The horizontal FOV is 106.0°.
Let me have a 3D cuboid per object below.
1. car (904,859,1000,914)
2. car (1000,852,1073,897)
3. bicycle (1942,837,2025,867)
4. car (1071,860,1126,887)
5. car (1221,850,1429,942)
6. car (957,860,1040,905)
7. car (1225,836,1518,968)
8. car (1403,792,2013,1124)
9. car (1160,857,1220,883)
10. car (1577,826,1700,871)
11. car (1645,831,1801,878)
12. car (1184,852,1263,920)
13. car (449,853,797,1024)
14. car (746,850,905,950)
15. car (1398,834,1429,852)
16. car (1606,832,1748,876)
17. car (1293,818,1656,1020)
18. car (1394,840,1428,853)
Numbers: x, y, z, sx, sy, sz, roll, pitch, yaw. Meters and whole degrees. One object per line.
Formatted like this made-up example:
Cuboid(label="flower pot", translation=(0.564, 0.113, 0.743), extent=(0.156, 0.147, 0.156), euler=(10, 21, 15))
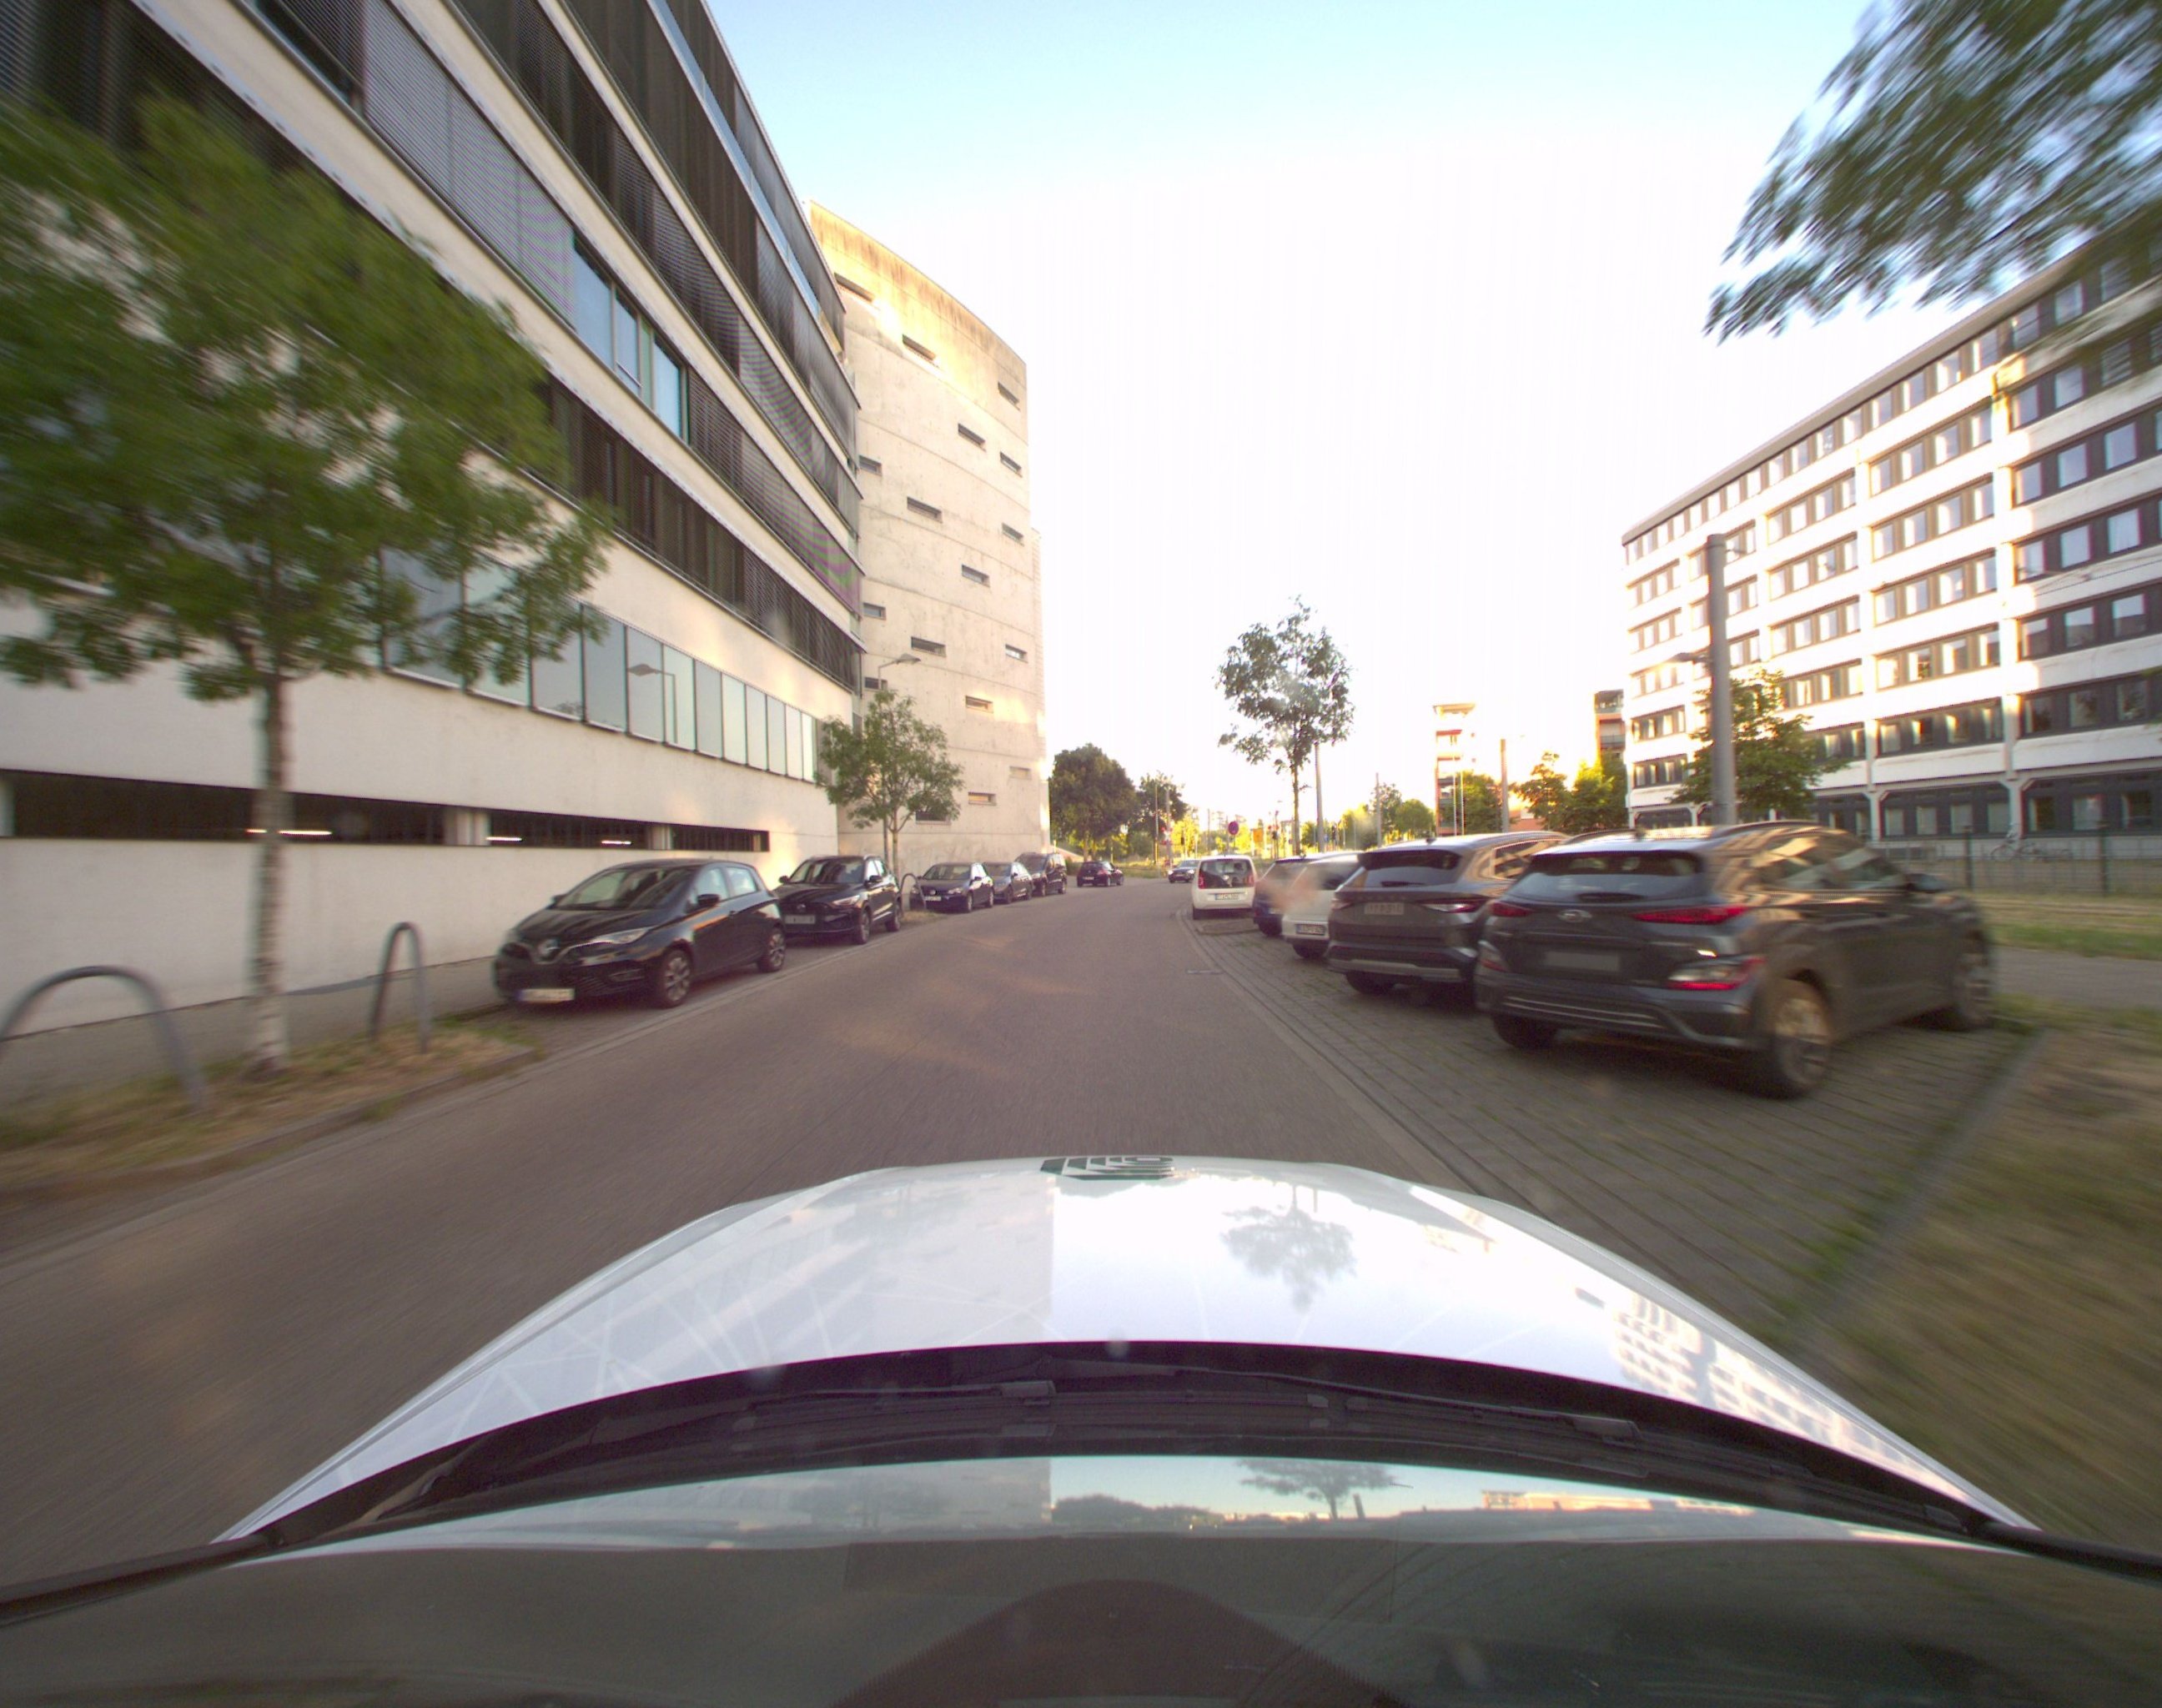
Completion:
Cuboid(label="car", translation=(-3.784, 0.924, 24.723), extent=(1.713, 1.457, 4.280), euler=(0, 0, 7))
Cuboid(label="car", translation=(-1.829, 0.808, 35.020), extent=(1.744, 1.798, 4.482), euler=(0, 0, 16))
Cuboid(label="bicycle", translation=(37.435, -0.081, 33.836), extent=(0.825, 1.200, 2.433), euler=(1, 0, 1))
Cuboid(label="car", translation=(1.034, 1.038, 45.378), extent=(1.929, 1.382, 4.419), euler=(0, 0, 17))
Cuboid(label="car", translation=(4.605, 0.690, 15.261), extent=(3.767, 1.509, 1.671), euler=(0, 0, -32))
Cuboid(label="car", translation=(-2.904, 0.966, 29.775), extent=(1.711, 1.457, 4.709), euler=(0, 0, 11))
Cuboid(label="car", translation=(4.333, 0.609, 12.097), extent=(3.944, 1.509, 1.938), euler=(-3, 0, -29))
Cuboid(label="car", translation=(4.608, 0.497, 5.975), extent=(3.996, 1.640, 1.956), euler=(-3, -1, -27))
Cuboid(label="car", translation=(6.772, 0.962, 50.274), extent=(1.761, 1.422, 4.544), euler=(-1, 0, 35))
Cuboid(label="car", translation=(26.575, -0.247, 38.929), extent=(4.478, 1.937, 1.932), euler=(-2, 0, 2))
Cuboid(label="car", translation=(24.066, 0.011, 30.642), extent=(4.480, 1.602, 1.694), euler=(-2, 0, 0))
Cuboid(label="car", translation=(3.512, 0.726, 20.289), extent=(1.712, 1.467, 3.562), euler=(-2, 0, 9))
Cuboid(label="car", translation=(-4.999, 0.789, 9.656), extent=(1.749, 1.561, 4.044), euler=(0, 0, 2))
Cuboid(label="car", translation=(-4.696, 0.760, 15.604), extent=(1.750, 1.653, 3.949), euler=(0, 0, 1))
Cuboid(label="car", translation=(49.786, -1.626, 122.000), extent=(4.117, 2.584, 1.712), euler=(-2, 0, 23))
Cuboid(label="car", translation=(24.155, 0.016, 33.091), extent=(4.480, 1.602, 1.694), euler=(-2, 0, 0))
Cuboid(label="car", translation=(4.261, 0.541, 8.703), extent=(3.792, 1.725, 1.746), euler=(0, 0, -32))
Cuboid(label="car", translation=(45.166, -1.054, 111.444), extent=(4.115, 1.576, 1.713), euler=(-2, 0, 26))
